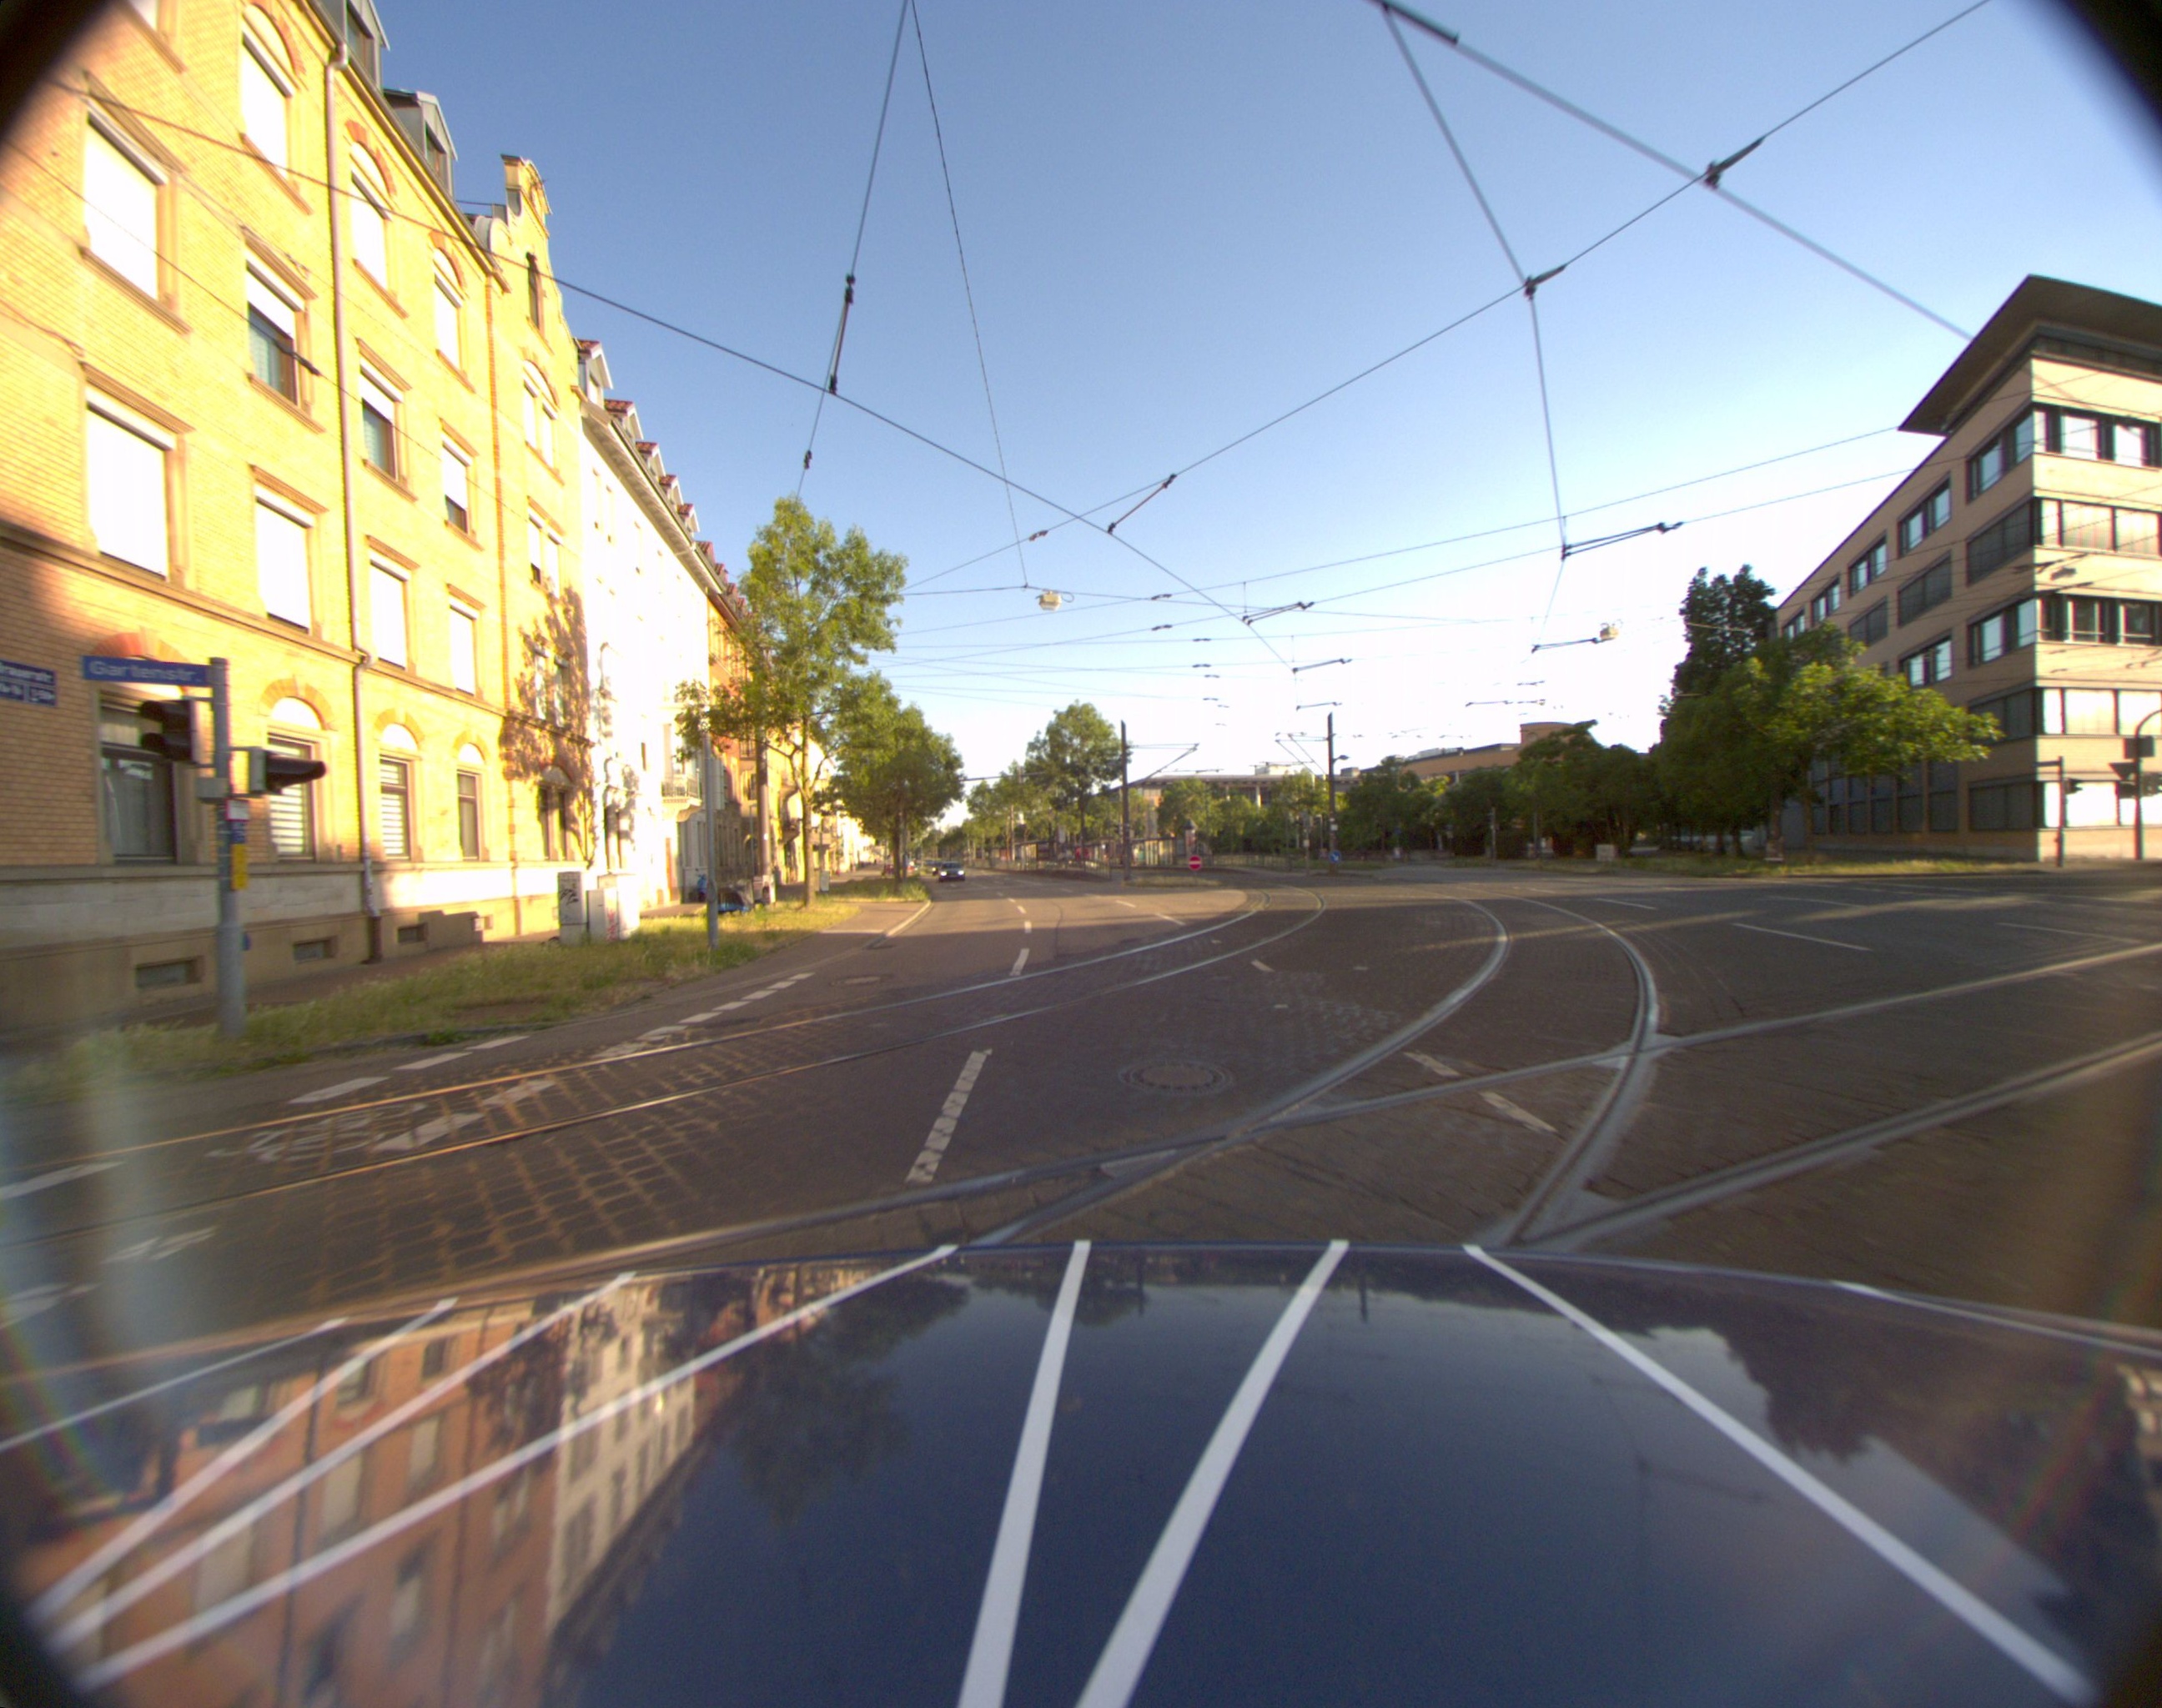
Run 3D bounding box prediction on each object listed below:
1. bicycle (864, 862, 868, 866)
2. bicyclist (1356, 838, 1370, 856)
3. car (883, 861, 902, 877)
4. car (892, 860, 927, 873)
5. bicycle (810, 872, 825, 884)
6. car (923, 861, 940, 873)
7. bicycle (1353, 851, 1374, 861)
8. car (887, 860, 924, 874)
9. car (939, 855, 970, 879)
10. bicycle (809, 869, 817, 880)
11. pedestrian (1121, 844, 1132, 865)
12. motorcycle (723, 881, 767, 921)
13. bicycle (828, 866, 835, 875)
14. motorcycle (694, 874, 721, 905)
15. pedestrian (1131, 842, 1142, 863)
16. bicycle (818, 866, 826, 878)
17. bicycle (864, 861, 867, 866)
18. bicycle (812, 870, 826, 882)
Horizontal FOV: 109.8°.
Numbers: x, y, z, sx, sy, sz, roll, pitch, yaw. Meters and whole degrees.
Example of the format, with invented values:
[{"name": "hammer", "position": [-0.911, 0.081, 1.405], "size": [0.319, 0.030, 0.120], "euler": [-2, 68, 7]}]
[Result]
[{"name": "bicycle", "position": [-48.153, 2.196, 170.150], "size": [0.581, 0.985, 1.925], "euler": [-2, 0, -13]}, {"name": "bicyclist", "position": [23.315, -0.553, 62.868], "size": [0.770, 1.459, 0.827], "euler": [-2, 1, -10]}, {"name": "car", "position": [-19.496, 1.555, 78.817], "size": [1.710, 1.440, 4.284], "euler": [-5, 1, -12]}, {"name": "car", "position": [-23.358, 1.696, 103.482], "size": [4.278, 1.513, 1.849], "euler": [-2, 1, 20]}, {"name": "bicycle", "position": [-21.312, 1.950, 61.406], "size": [0.875, 0.910, 2.082], "euler": [-1, 0, -11]}, {"name": "car", "position": [-21.515, 1.856, 109.204], "size": [1.999, 1.655, 3.998], "euler": [-2, 0, -6]}, {"name": "bicycle", "position": [23.359, 0.182, 62.883], "size": [0.777, 0.816, 1.964], "euler": [-2, 0, -10]}, {"name": "car", "position": [-23.243, 1.672, 100.846], "size": [4.332, 1.562, 2.004], "euler": [-4, 0, 20]}, {"name": "car", "position": [-9.534, 0.972, 57.336], "size": [1.999, 1.655, 3.998], "euler": [-2, 0, -6]}, {"name": "bicycle", "position": [-25.331, 1.904, 71.728], "size": [0.485, 0.999, 1.744], "euler": [-2, 0, -12]}, {"name": "pedestrian", "position": [4.400, 0.031, 73.760], "size": [0.772, 2.002, 1.126], "euler": [-2, 1, -11]}, {"name": "motorcycle", "position": [-9.740, 1.350, 22.071], "size": [0.606, 1.038, 1.743], "euler": [-2, 0, -6]}, {"name": "bicycle", "position": [-30.174, 2.032, 91.993], "size": [0.574, 1.067, 1.894], "euler": [-1, 0, -13]}, {"name": "motorcycle", "position": [-16.041, 1.500, 32.680], "size": [0.555, 1.207, 2.070], "euler": [-4, 1, -14]}, {"name": "pedestrian", "position": [5.312, -0.155, 73.078], "size": [0.772, 2.002, 1.126], "euler": [-2, 1, -11]}, {"name": "bicycle", "position": [-27.269, 1.914, 80.018], "size": [0.485, 1.158, 1.744], "euler": [3, -1, -12]}, {"name": "bicycle", "position": [-47.663, 2.142, 168.079], "size": [0.590, 1.072, 2.225], "euler": [-1, 0, -13]}, {"name": "bicycle", "position": [-22.009, 1.837, 63.865], "size": [0.736, 0.942, 2.337], "euler": [-1, 0, -9]}]
